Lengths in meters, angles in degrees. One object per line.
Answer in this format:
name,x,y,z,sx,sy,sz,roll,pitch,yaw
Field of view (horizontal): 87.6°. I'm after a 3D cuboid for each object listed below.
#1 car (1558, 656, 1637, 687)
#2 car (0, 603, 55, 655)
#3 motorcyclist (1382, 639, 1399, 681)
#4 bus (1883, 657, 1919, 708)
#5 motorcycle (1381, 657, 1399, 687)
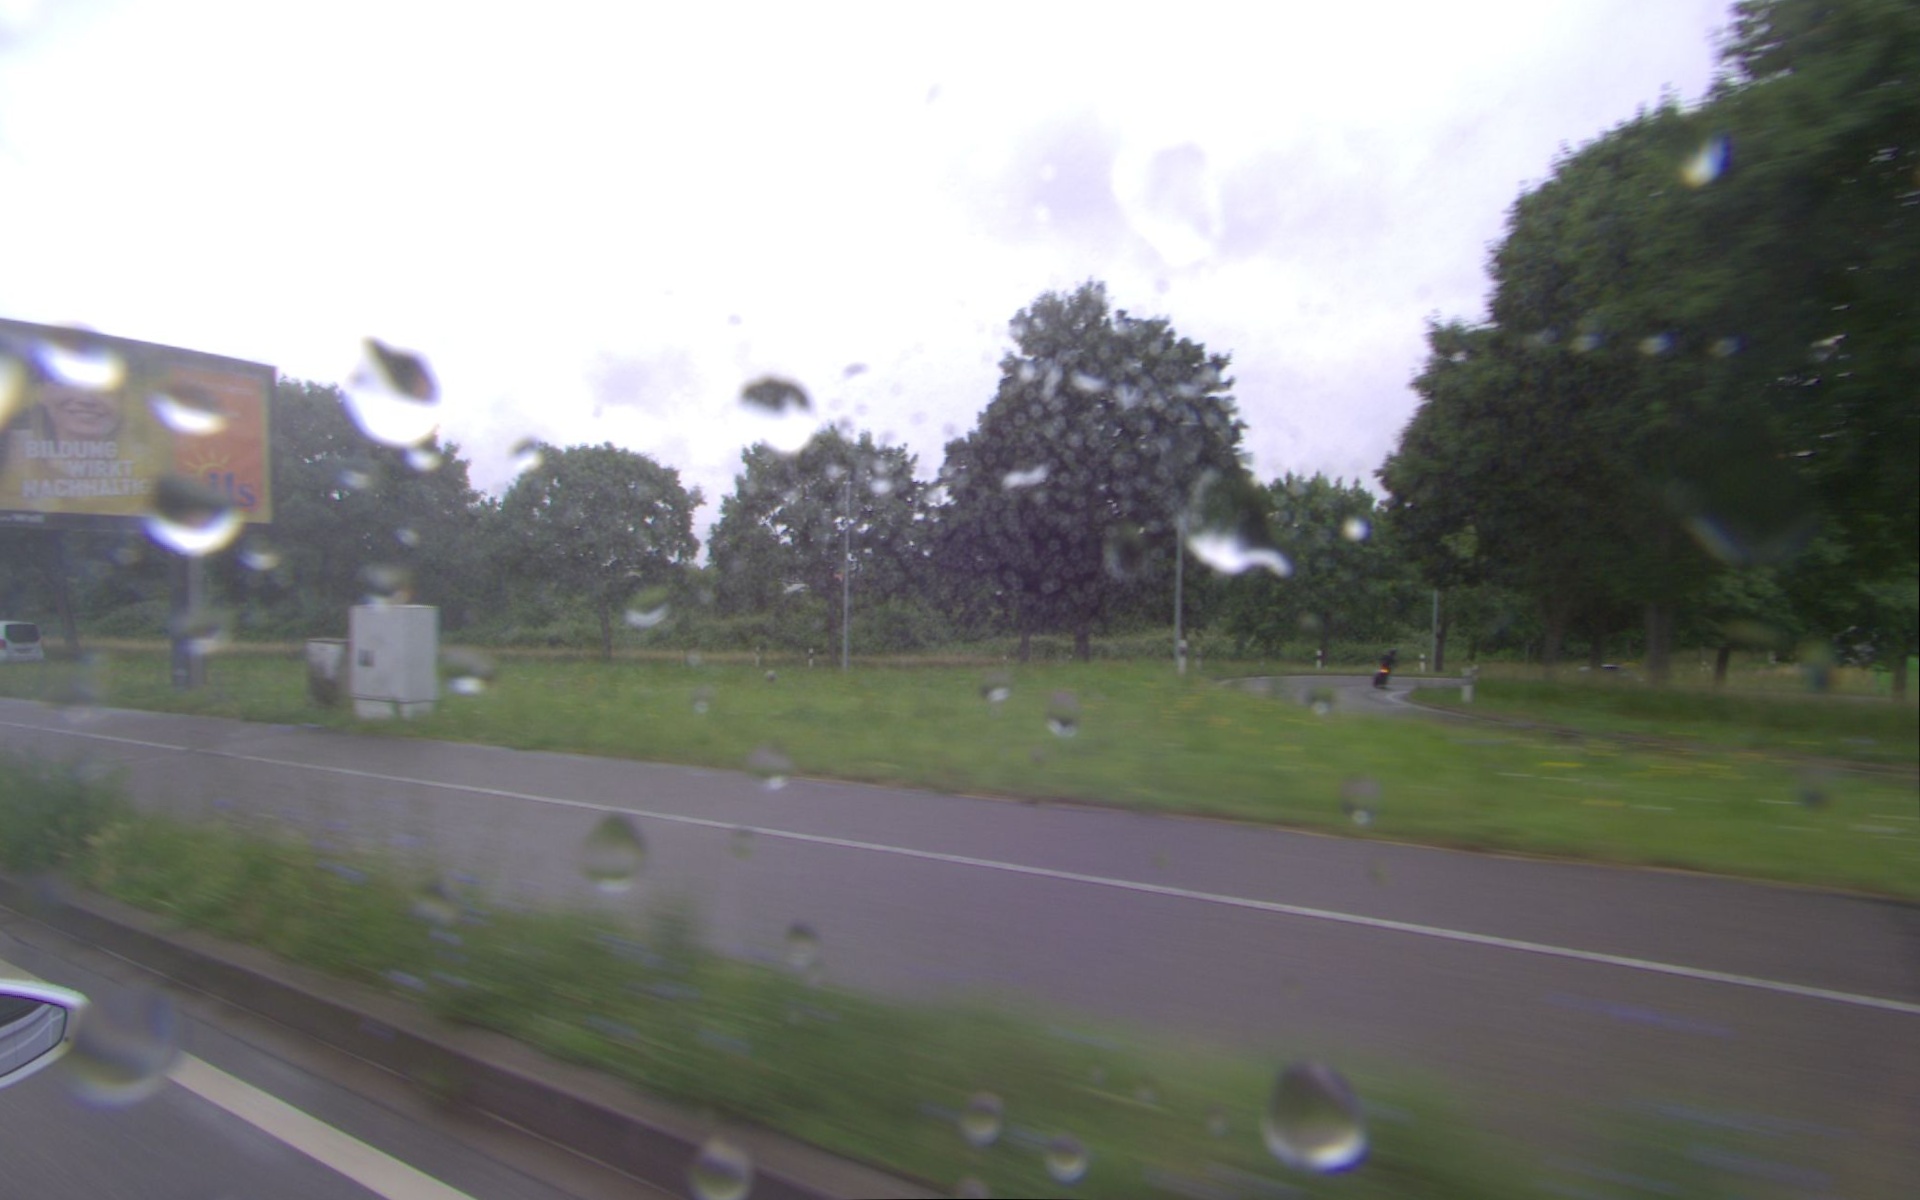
car,35.851,3.984,56.315,3.936,1.639,1.854,1,-1,-24
car,-38.447,1.105,38.956,4.519,2.000,2.066,1,-1,-2
motorcyclist,17.867,2.474,41.578,0.593,1.712,0.857,0,1,26
bus,59.755,4.543,54.413,14.326,2.714,2.760,-1,-1,16
motorcycle,17.859,2.974,41.605,0.593,1.108,1.725,0,0,26
